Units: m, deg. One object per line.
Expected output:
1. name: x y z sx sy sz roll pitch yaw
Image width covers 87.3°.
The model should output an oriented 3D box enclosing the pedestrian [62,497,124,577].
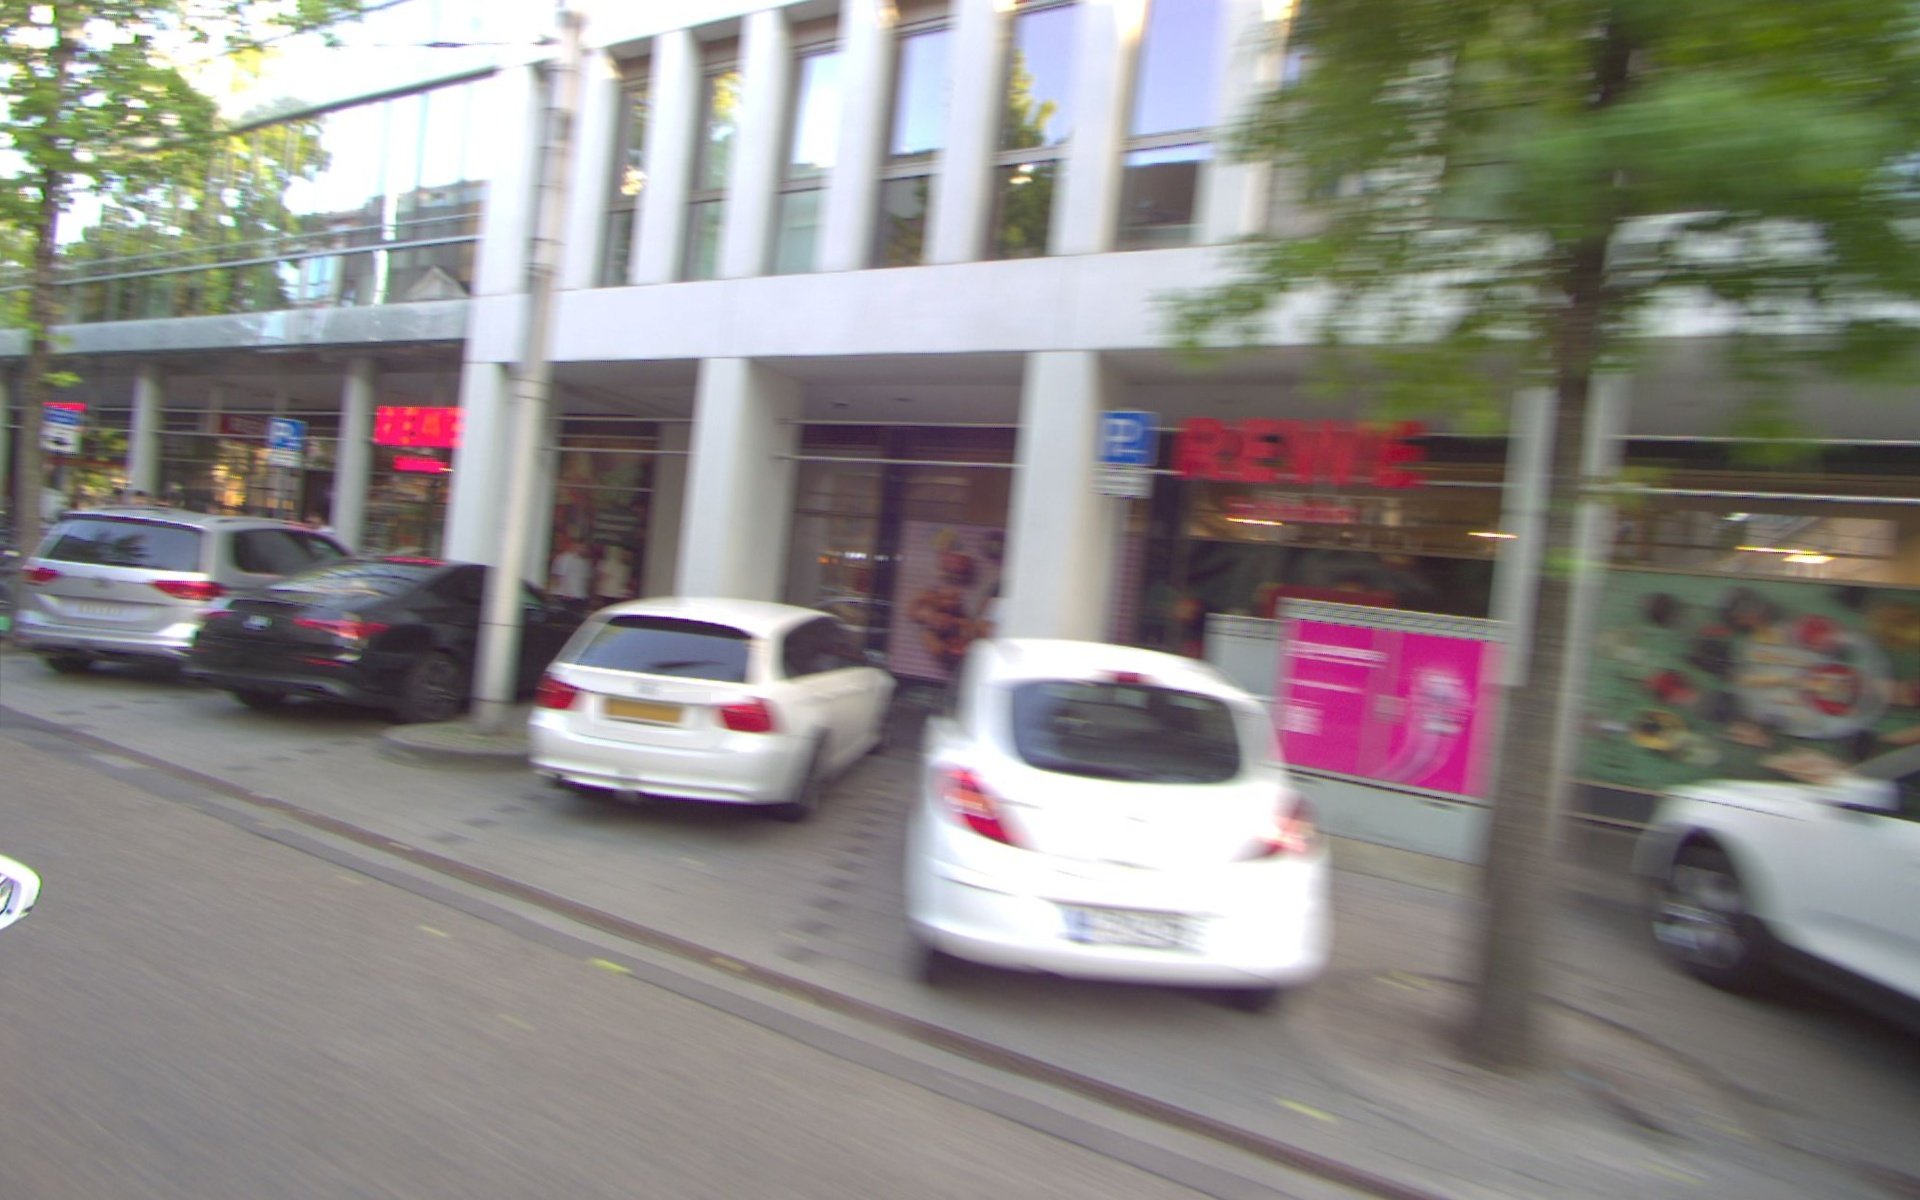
1. pedestrian: -18.319 -1.334 21.265 0.653 1.566 0.681 6 -1 27

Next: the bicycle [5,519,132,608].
1. bicycle: -13.282 -0.544 15.043 0.545 1.205 1.691 6 2 -10

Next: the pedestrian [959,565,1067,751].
1. pedestrian: 0.597 0.645 11.156 0.670 1.919 0.804 8 0 29

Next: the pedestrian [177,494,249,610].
1. pedestrian: -12.439 -0.789 16.753 0.705 1.836 0.658 7 2 32

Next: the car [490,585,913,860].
1. car: -1.663 0.696 8.143 1.794 1.441 4.348 6 1 6

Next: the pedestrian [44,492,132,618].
1. pedestrian: -12.166 -0.626 14.054 0.697 1.646 0.655 5 2 -27

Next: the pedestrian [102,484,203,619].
1. pedestrian: -11.804 -0.706 14.743 0.876 1.836 0.931 5 2 -27

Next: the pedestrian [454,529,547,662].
1. pedestrian: -6.657 -0.052 14.578 0.791 1.792 0.681 8 0 27

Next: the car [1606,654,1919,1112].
1. car: 4.850 1.280 3.952 1.915 1.694 4.271 5 1 3

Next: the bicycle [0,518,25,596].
1. bicycle: -15.022 -0.677 14.655 0.685 1.163 2.000 7 2 10

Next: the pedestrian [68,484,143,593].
1. pedestrian: -15.270 -1.090 18.002 0.782 1.836 0.655 5 2 -27

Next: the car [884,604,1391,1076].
1. car: 0.620 0.915 5.768 1.762 1.521 4.064 5 1 -1

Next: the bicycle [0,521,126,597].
1. bicycle: -14.713 -0.647 16.327 0.809 1.108 1.832 6 0 -3

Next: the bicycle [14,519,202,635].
1. bicycle: -10.737 -0.283 12.746 1.641 1.266 0.636 6 2 -27

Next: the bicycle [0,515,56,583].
1. bicycle: -17.001 -0.915 17.533 0.829 1.131 1.790 6 1 -1

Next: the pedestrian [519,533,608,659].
1. pedestrian: -5.876 -0.051 14.927 0.791 1.719 0.681 8 0 27

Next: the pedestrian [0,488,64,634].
1. pedestrian: -11.186 -0.479 11.893 0.787 1.647 0.760 4 3 -43

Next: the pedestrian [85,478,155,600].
1. pedestrian: -13.359 -0.961 16.017 0.653 1.836 0.710 5 2 -32

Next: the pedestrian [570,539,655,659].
1. pedestrian: -5.375 -0.006 15.559 0.791 1.719 0.681 8 0 27

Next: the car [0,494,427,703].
1. car: -7.891 -0.074 11.102 1.921 1.661 4.667 5 1 -7

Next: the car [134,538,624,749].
1. car: -5.247 0.302 9.934 1.918 1.441 4.348 5 1 6

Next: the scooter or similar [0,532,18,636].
1. scooter or similar: -11.174 -0.198 11.024 0.490 1.196 1.330 6 0 -9

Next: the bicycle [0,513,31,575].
1. bicycle: -18.383 -1.090 18.458 0.918 1.131 1.749 6 1 4

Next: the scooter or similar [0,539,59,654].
1. scooter or similar: -10.410 -0.053 10.750 0.571 1.164 1.395 6 1 -18

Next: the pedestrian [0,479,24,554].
1. pedestrian: -23.016 -2.020 23.995 0.791 1.719 0.664 6 -1 27

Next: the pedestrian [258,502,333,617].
1. pedestrian: -9.885 -0.598 14.973 0.757 1.591 0.624 5 1 -40

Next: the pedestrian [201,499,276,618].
1. pedestrian: -11.420 -0.651 15.914 0.707 1.777 0.728 8 3 41

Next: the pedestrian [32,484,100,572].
1. pedestrian: -18.870 -1.514 21.227 0.791 1.719 0.681 8 0 27

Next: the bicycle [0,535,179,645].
1. bicycle: -10.584 -0.128 12.020 1.847 1.090 0.629 6 2 -8

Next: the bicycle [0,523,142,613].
1. bicycle: -12.570 -0.429 14.110 0.492 1.164 1.695 7 2 13

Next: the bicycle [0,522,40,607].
1. bicycle: -13.508 -0.497 13.547 0.469 1.154 1.686 7 2 8

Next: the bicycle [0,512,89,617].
1. bicycle: -12.406 -0.468 12.873 0.668 1.290 1.833 7 2 9
